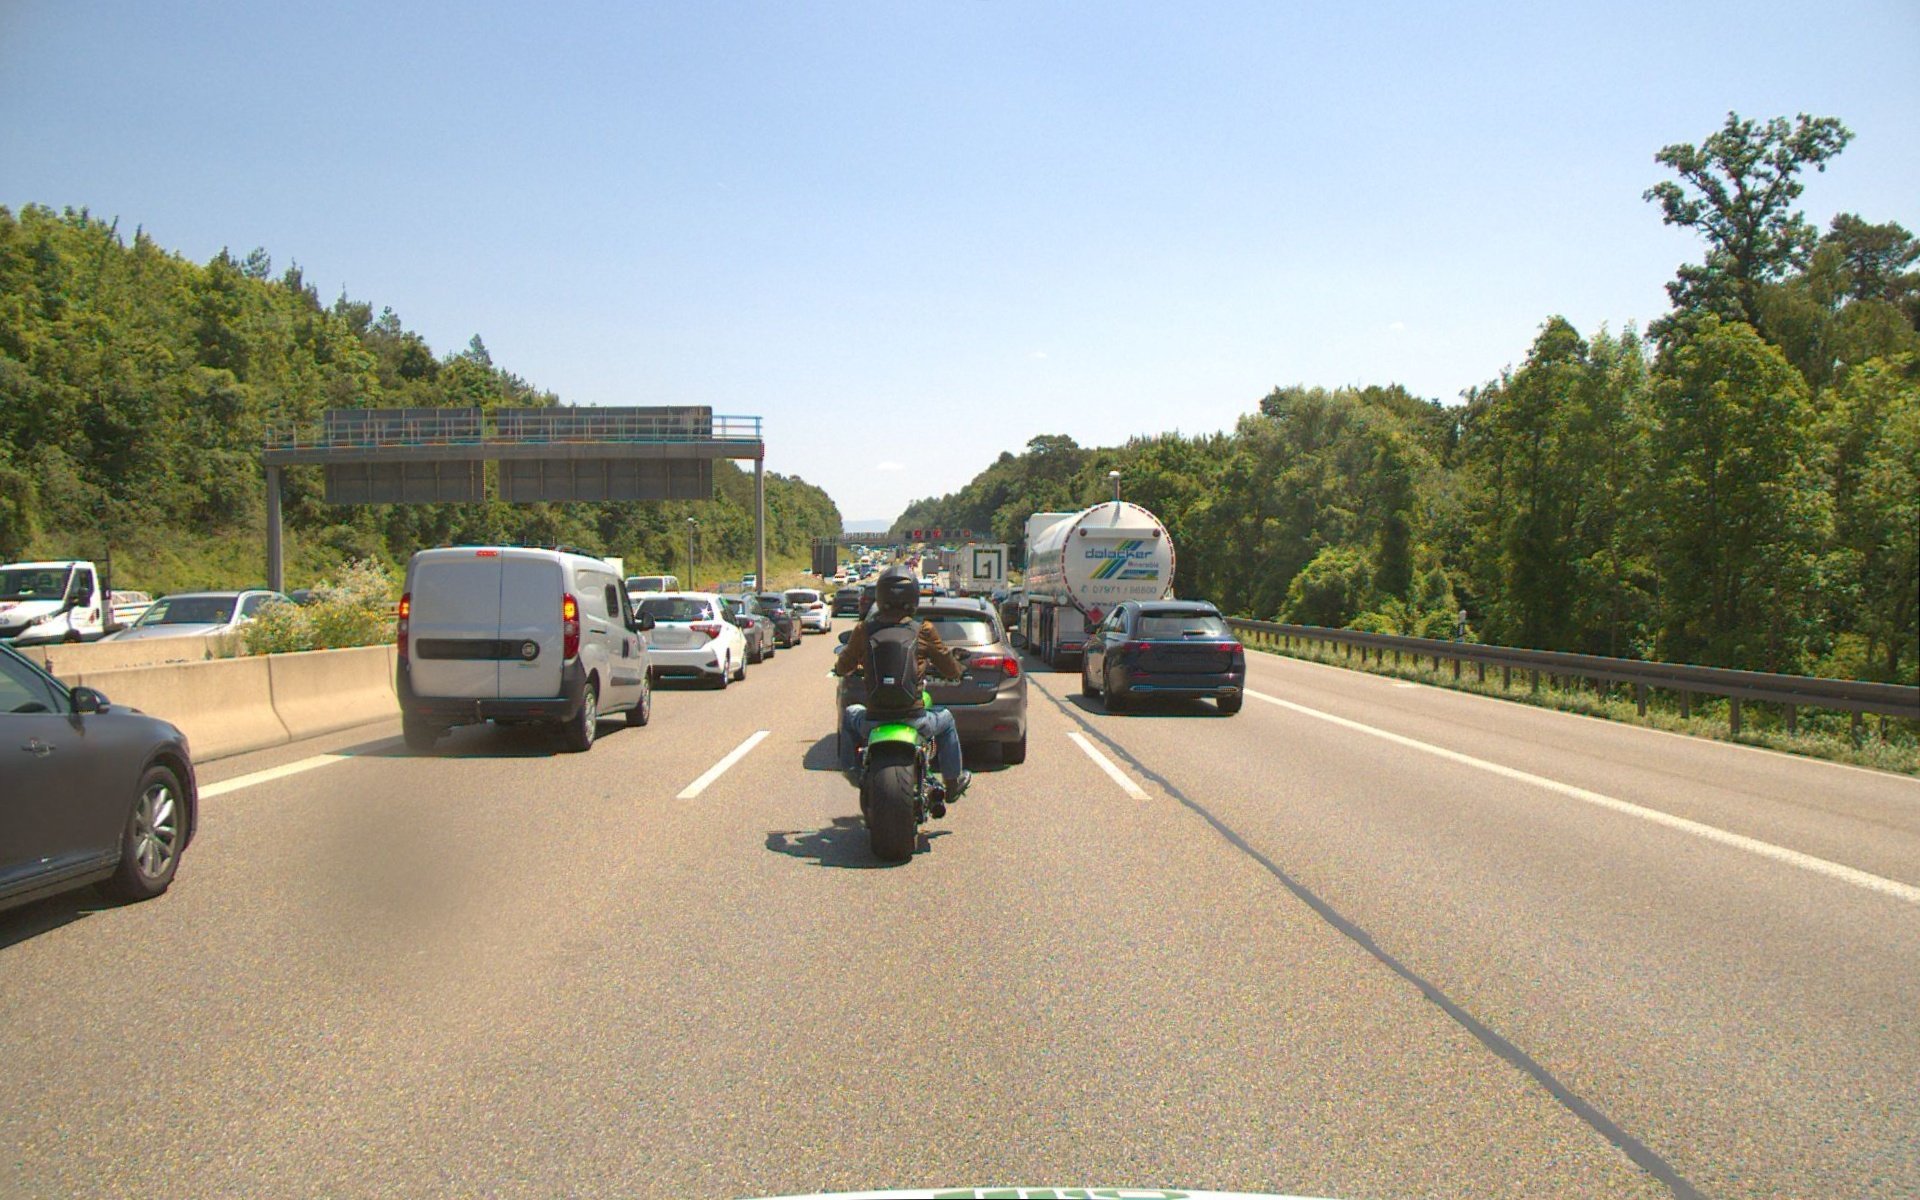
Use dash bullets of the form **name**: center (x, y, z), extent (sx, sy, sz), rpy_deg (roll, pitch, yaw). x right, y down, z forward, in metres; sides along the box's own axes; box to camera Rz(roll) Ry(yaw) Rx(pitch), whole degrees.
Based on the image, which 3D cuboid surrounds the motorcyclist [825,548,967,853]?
- **motorcyclist**: center (-0.371, 0.572, 9.870), extent (0.782, 1.717, 1.016), rpy_deg (1, -1, -1)

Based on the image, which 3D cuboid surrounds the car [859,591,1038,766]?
- **car**: center (-0.136, 0.666, 16.075), extent (1.509, 1.475, 3.999), rpy_deg (1, 0, -1)

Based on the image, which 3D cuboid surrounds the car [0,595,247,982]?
- **car**: center (-4.567, 0.707, 6.173), extent (1.836, 1.475, 4.676), rpy_deg (1, 0, -1)

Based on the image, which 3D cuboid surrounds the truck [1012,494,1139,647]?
- **truck**: center (2.941, -0.688, 43.904), extent (2.770, 3.735, 6.427), rpy_deg (1, -1, -1)

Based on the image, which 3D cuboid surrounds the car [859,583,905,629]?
- **car**: center (-3.544, 0.286, 75.898), extent (1.953, 2.049, 3.999), rpy_deg (1, -1, -1)

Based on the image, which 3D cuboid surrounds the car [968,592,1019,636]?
- **car**: center (1.213, 0.523, 61.530), extent (1.740, 1.554, 3.999), rpy_deg (1, -1, -1)

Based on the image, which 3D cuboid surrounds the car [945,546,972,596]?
- **car**: center (-0.181, -2.400, 141.150), extent (2.123, 3.961, 9.327), rpy_deg (1, -1, -1)

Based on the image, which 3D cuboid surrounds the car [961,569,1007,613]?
- **car**: center (1.128, -0.406, 80.070), extent (1.954, 2.049, 3.998), rpy_deg (1, -1, -3)

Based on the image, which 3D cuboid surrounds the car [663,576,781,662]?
- **car**: center (-5.046, 0.410, 35.593), extent (1.953, 1.713, 4.329), rpy_deg (1, -1, -1)

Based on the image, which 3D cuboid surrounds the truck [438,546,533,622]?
- **truck**: center (-19.572, -0.587, 68.519), extent (2.134, 2.935, 6.740), rpy_deg (1, -1, -2)

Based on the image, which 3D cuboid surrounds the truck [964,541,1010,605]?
- **truck**: center (1.799, -1.681, 107.326), extent (2.794, 3.888, 7.188), rpy_deg (1, -1, 2)

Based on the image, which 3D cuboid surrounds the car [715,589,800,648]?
- **car**: center (-5.378, 0.489, 44.425), extent (1.954, 1.490, 3.997), rpy_deg (1, -1, -3)

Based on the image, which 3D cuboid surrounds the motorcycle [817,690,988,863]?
- **motorcycle**: center (-0.331, 1.020, 10.129), extent (0.917, 0.807, 2.298), rpy_deg (1, 0, -1)

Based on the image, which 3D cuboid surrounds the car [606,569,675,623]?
- **car**: center (-12.669, -0.140, 65.886), extent (1.953, 2.049, 3.999), rpy_deg (1, -1, 0)

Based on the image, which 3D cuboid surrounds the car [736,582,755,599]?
- **car**: center (-26.214, -1.174, 201.877), extent (1.862, 2.049, 3.999), rpy_deg (-1, 0, -1)

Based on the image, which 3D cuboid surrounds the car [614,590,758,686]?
- **car**: center (-4.412, 0.603, 27.173), extent (1.740, 1.435, 3.999), rpy_deg (1, -1, -1)

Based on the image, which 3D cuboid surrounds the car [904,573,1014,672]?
- **car**: center (-0.078, 0.423, 31.534), extent (1.953, 1.741, 3.998), rpy_deg (1, -1, -2)

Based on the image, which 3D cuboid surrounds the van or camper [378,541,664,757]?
- **van or camper**: center (-4.339, 0.415, 17.101), extent (1.815, 1.913, 4.560), rpy_deg (1, 1, -1)

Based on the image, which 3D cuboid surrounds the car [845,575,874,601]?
- **car**: center (-6.384, -0.746, 105.246), extent (1.627, 1.627, 3.999), rpy_deg (0, 0, -1)

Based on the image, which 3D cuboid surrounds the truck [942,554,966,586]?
- **truck**: center (-0.722, -3.351, 190.011), extent (2.641, 3.465, 10.475), rpy_deg (0, 0, -1)

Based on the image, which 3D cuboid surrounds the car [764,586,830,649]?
- **car**: center (-5.516, 0.591, 56.357), extent (1.953, 2.049, 3.998), rpy_deg (1, -1, -2)

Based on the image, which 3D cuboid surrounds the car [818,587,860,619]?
- **car**: center (-5.797, 0.170, 79.442), extent (1.728, 1.467, 3.999), rpy_deg (1, -1, -1)

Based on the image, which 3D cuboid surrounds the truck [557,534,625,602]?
- **truck**: center (-23.686, -1.979, 106.539), extent (2.637, 4.059, 7.988), rpy_deg (1, -1, -1)

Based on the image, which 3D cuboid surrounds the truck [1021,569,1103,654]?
- **truck**: center (3.820, 0.406, 63.621), extent (2.340, 3.031, 8.249), rpy_deg (0, 0, -2)

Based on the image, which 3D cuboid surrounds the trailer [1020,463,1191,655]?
- **trailer**: center (3.057, -0.745, 37.895), extent (2.770, 3.735, 10.729), rpy_deg (1, -1, -1)

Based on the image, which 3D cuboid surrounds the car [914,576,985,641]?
- **car**: center (-0.349, 0.260, 48.391), extent (1.953, 1.806, 3.998), rpy_deg (1, -1, -2)

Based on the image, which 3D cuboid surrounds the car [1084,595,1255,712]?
- **car**: center (2.867, 0.718, 23.542), extent (1.756, 1.484, 4.622), rpy_deg (1, -1, -1)

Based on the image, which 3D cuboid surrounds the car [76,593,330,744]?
- **car**: center (-11.135, 0.961, 24.667), extent (1.953, 2.049, 3.999), rpy_deg (1, -1, -1)

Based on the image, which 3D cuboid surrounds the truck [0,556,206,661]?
- **truck**: center (-18.731, 0.197, 35.499), extent (2.304, 2.049, 6.489), rpy_deg (1, -1, -2)

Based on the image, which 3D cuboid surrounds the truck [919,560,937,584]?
- **truck**: center (-4.811, -4.147, 246.611), extent (2.641, 3.465, 10.475), rpy_deg (0, 0, -1)

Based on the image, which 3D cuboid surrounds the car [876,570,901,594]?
- **car**: center (-6.075, -1.514, 140.598), extent (1.953, 2.049, 3.999), rpy_deg (0, 0, -1)

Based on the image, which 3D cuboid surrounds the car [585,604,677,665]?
- **car**: center (-8.737, 0.891, 44.255), extent (1.788, 1.521, 3.998), rpy_deg (0, 0, -2)
